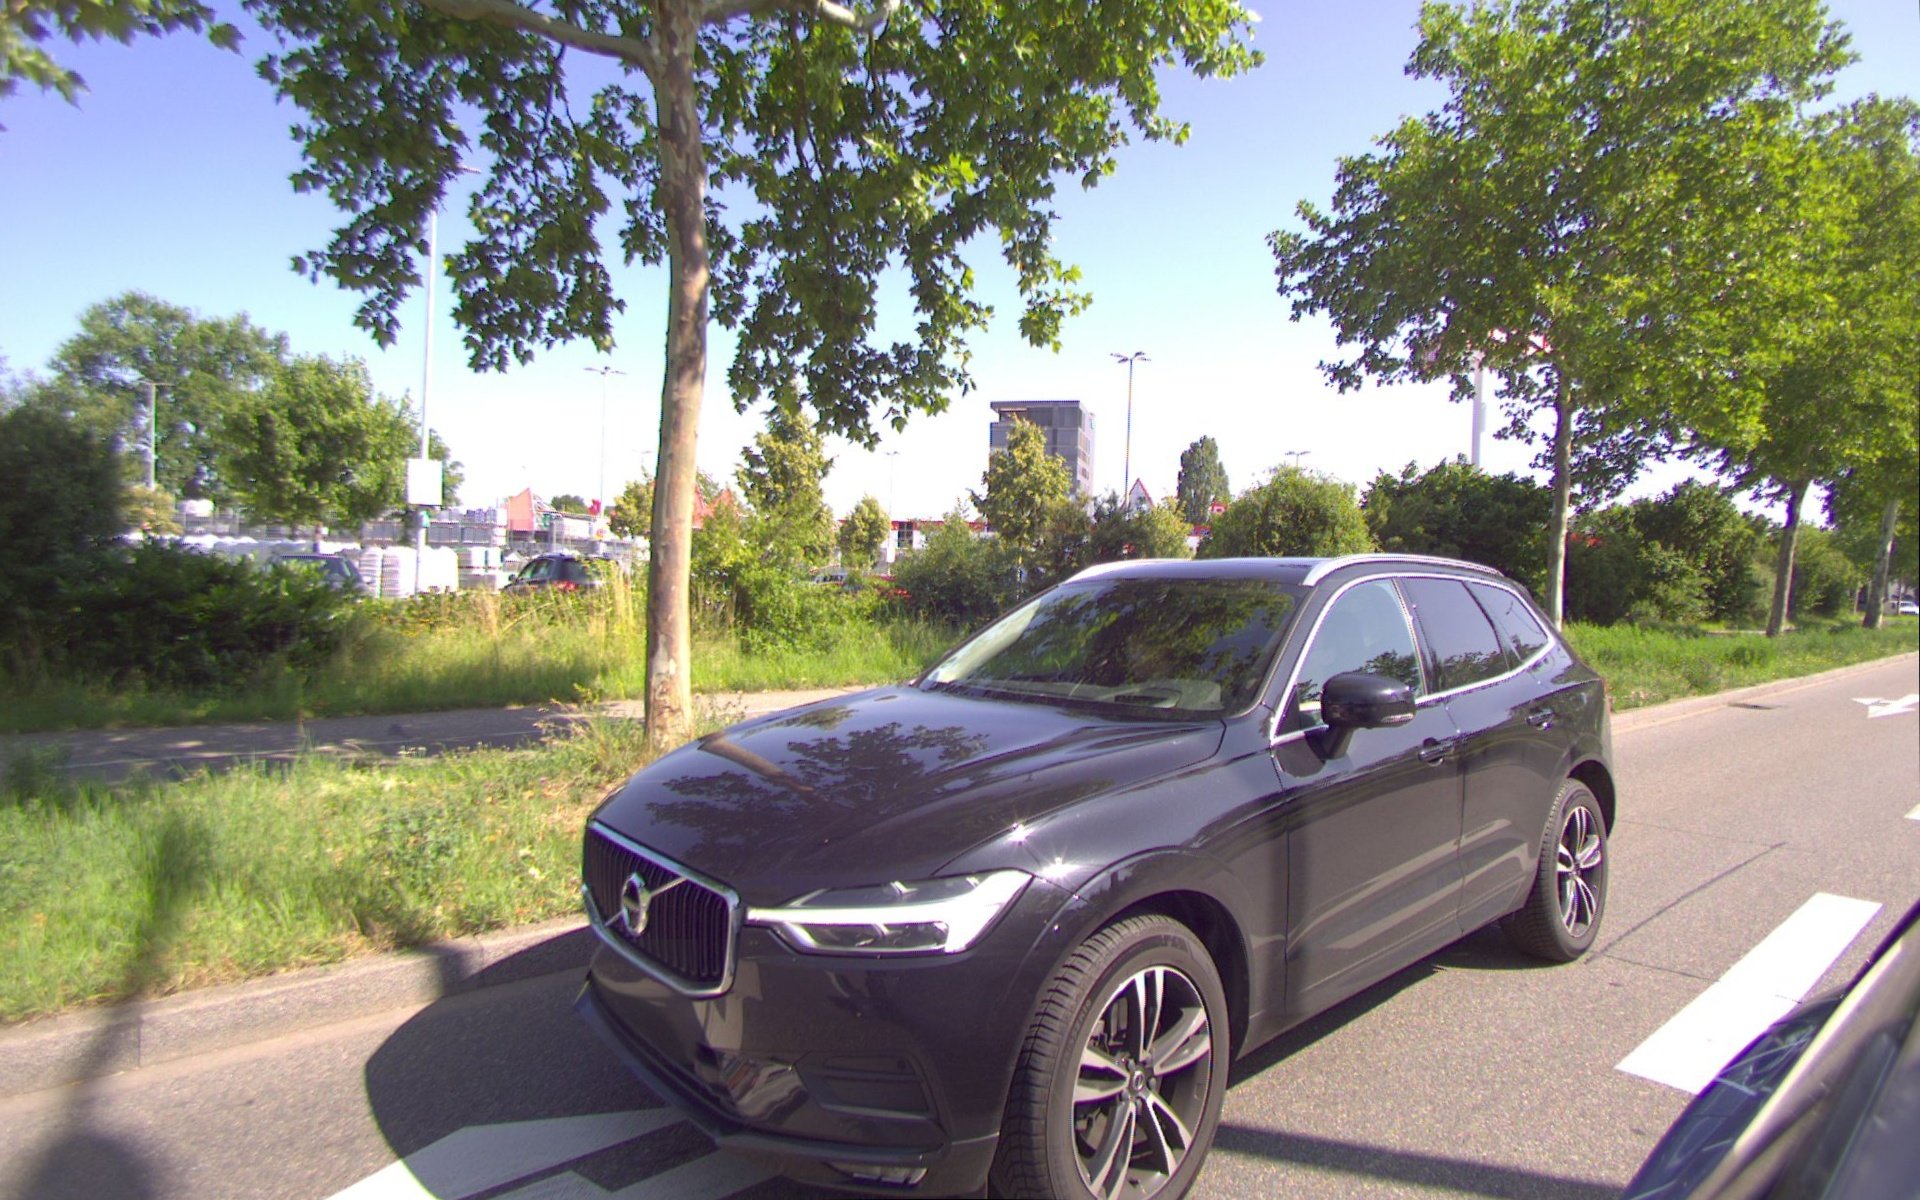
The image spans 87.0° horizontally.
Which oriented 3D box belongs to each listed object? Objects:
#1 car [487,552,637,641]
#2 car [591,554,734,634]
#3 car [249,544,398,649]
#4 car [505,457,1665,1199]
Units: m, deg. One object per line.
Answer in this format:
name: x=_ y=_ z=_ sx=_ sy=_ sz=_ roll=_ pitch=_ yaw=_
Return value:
car: x=-8.516 y=-0.103 z=21.529 sx=3.548 sy=1.717 sz=1.692 roll=1 pitch=1 yaw=45
car: x=-6.928 y=-0.161 z=23.410 sx=3.548 sy=1.717 sz=1.692 roll=1 pitch=1 yaw=45
car: x=-11.646 y=-0.089 z=18.420 sx=1.690 sy=1.717 sz=3.552 roll=0 pitch=1 yaw=-43
car: x=0.907 y=0.558 z=3.870 sx=4.485 sy=1.642 sz=1.922 roll=0 pitch=1 yaw=-41
